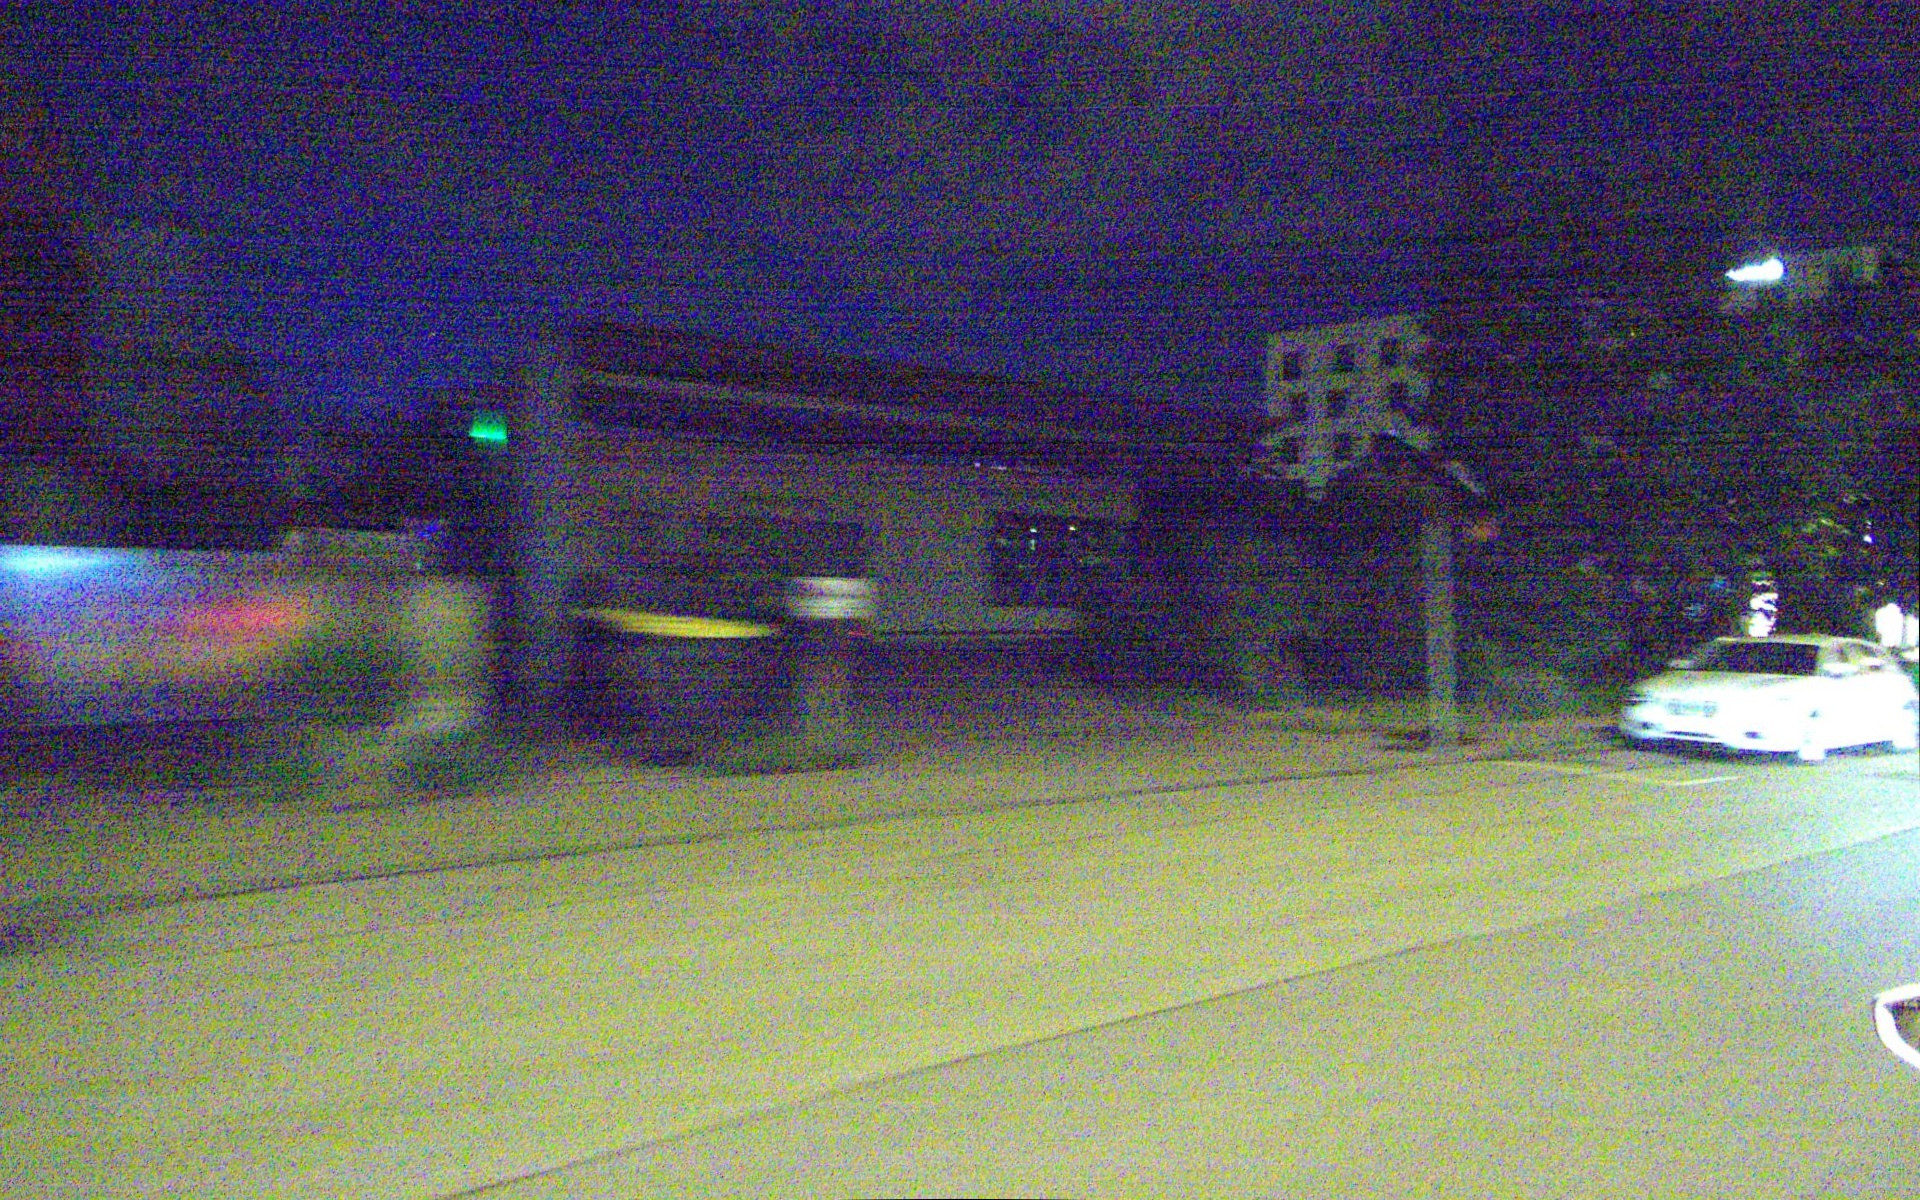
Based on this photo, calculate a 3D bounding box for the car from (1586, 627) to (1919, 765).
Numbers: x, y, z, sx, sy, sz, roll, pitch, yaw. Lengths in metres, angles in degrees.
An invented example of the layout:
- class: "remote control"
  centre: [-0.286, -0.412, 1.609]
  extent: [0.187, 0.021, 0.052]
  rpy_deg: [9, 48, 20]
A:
- class: "car"
  centre: [9.883, 1.067, 12.377]
  extent: [4.286, 1.422, 1.903]
  rpy_deg: [1, -1, -30]

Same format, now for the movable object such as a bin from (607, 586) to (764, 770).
- class: "movable object such as a bin"
  centre: [-2.490, 0.656, 9.059]
  extent: [1.054, 1.515, 1.158]
  rpy_deg: [1, -1, -33]

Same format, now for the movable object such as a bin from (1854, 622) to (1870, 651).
- class: "movable object such as a bin"
  centre: [45.879, 1.852, 51.071]
  extent: [0.723, 1.389, 0.355]
  rpy_deg: [-2, 0, -29]

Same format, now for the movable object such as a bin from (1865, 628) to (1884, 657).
- class: "movable object such as a bin"
  centre: [46.738, 2.150, 51.337]
  extent: [0.798, 1.471, 0.439]
  rpy_deg: [0, -1, -27]
